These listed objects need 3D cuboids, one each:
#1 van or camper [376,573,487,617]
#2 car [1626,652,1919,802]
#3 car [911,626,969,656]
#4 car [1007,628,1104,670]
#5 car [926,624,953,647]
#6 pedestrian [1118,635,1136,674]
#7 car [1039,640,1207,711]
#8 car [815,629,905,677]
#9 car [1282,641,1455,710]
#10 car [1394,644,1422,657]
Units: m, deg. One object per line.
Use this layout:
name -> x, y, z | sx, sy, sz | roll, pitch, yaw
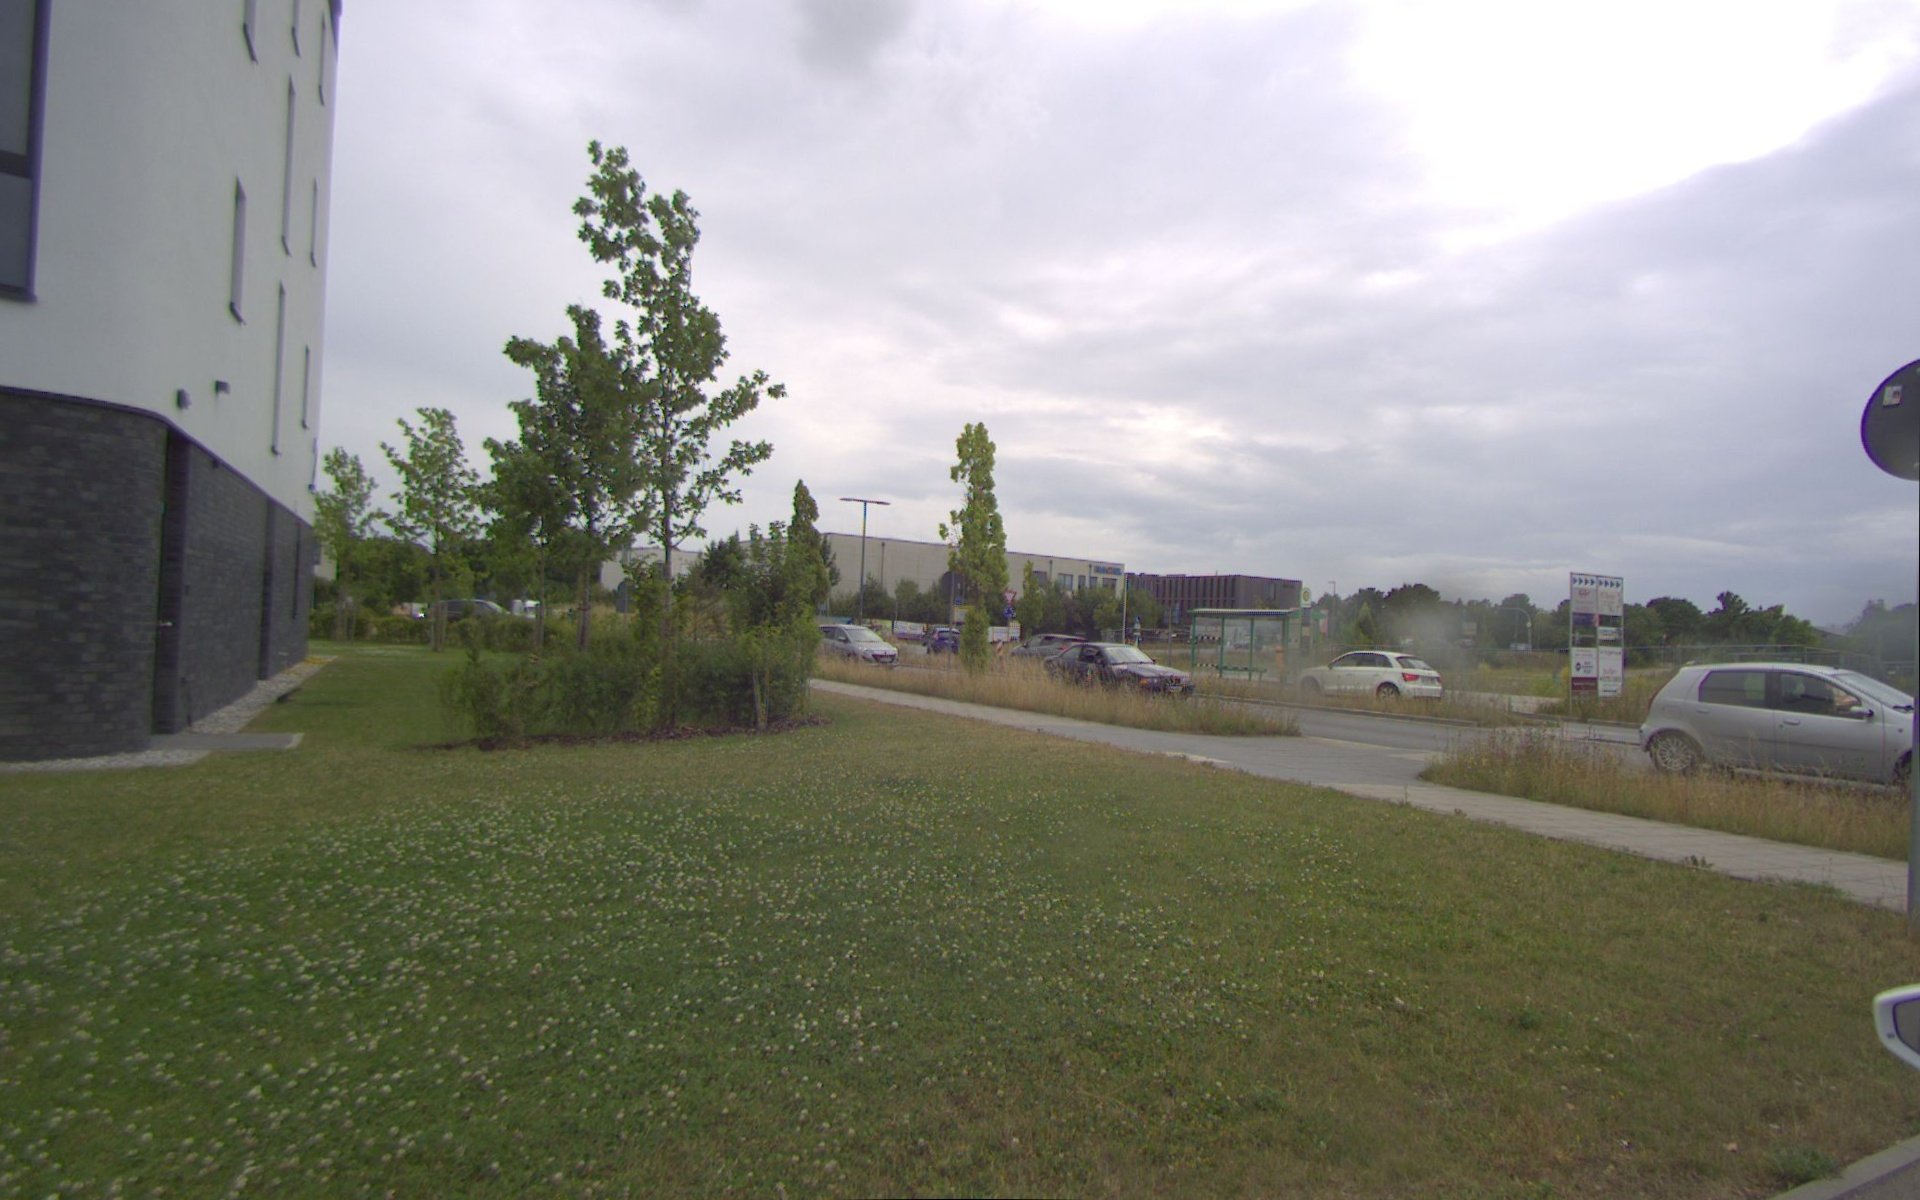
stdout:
van or camper -> -25.072, -0.213, 47.796 | 4.517, 1.771, 1.985 | 4, -1, -28
car -> 10.477, 1.464, 12.011 | 1.782, 1.480, 3.782 | 4, -2, -33
car -> -1.090, 2.108, 52.343 | 1.694, 1.360, 3.943 | 3, -1, -22
car -> 3.648, 1.875, 39.155 | 1.699, 1.360, 4.031 | 4, -1, -30
car -> -1.359, 2.301, 65.826 | 1.685, 1.360, 3.964 | 3, -1, -1
pedestrian -> 7.712, 2.505, 46.413 | 0.728, 1.744, 0.651 | 3, -1, 6
car -> 3.767, 1.746, 24.009 | 1.737, 1.404, 4.271 | 3, -2, -28
car -> -3.775, 1.942, 37.256 | 1.799, 1.584, 4.369 | 2, -1, -28
car -> 10.675, 1.948, 26.548 | 1.737, 1.500, 4.026 | 4, -1, -28
car -> 57.038, 6.478, 127.830 | 3.607, 1.505, 1.664 | 4, -1, -36
